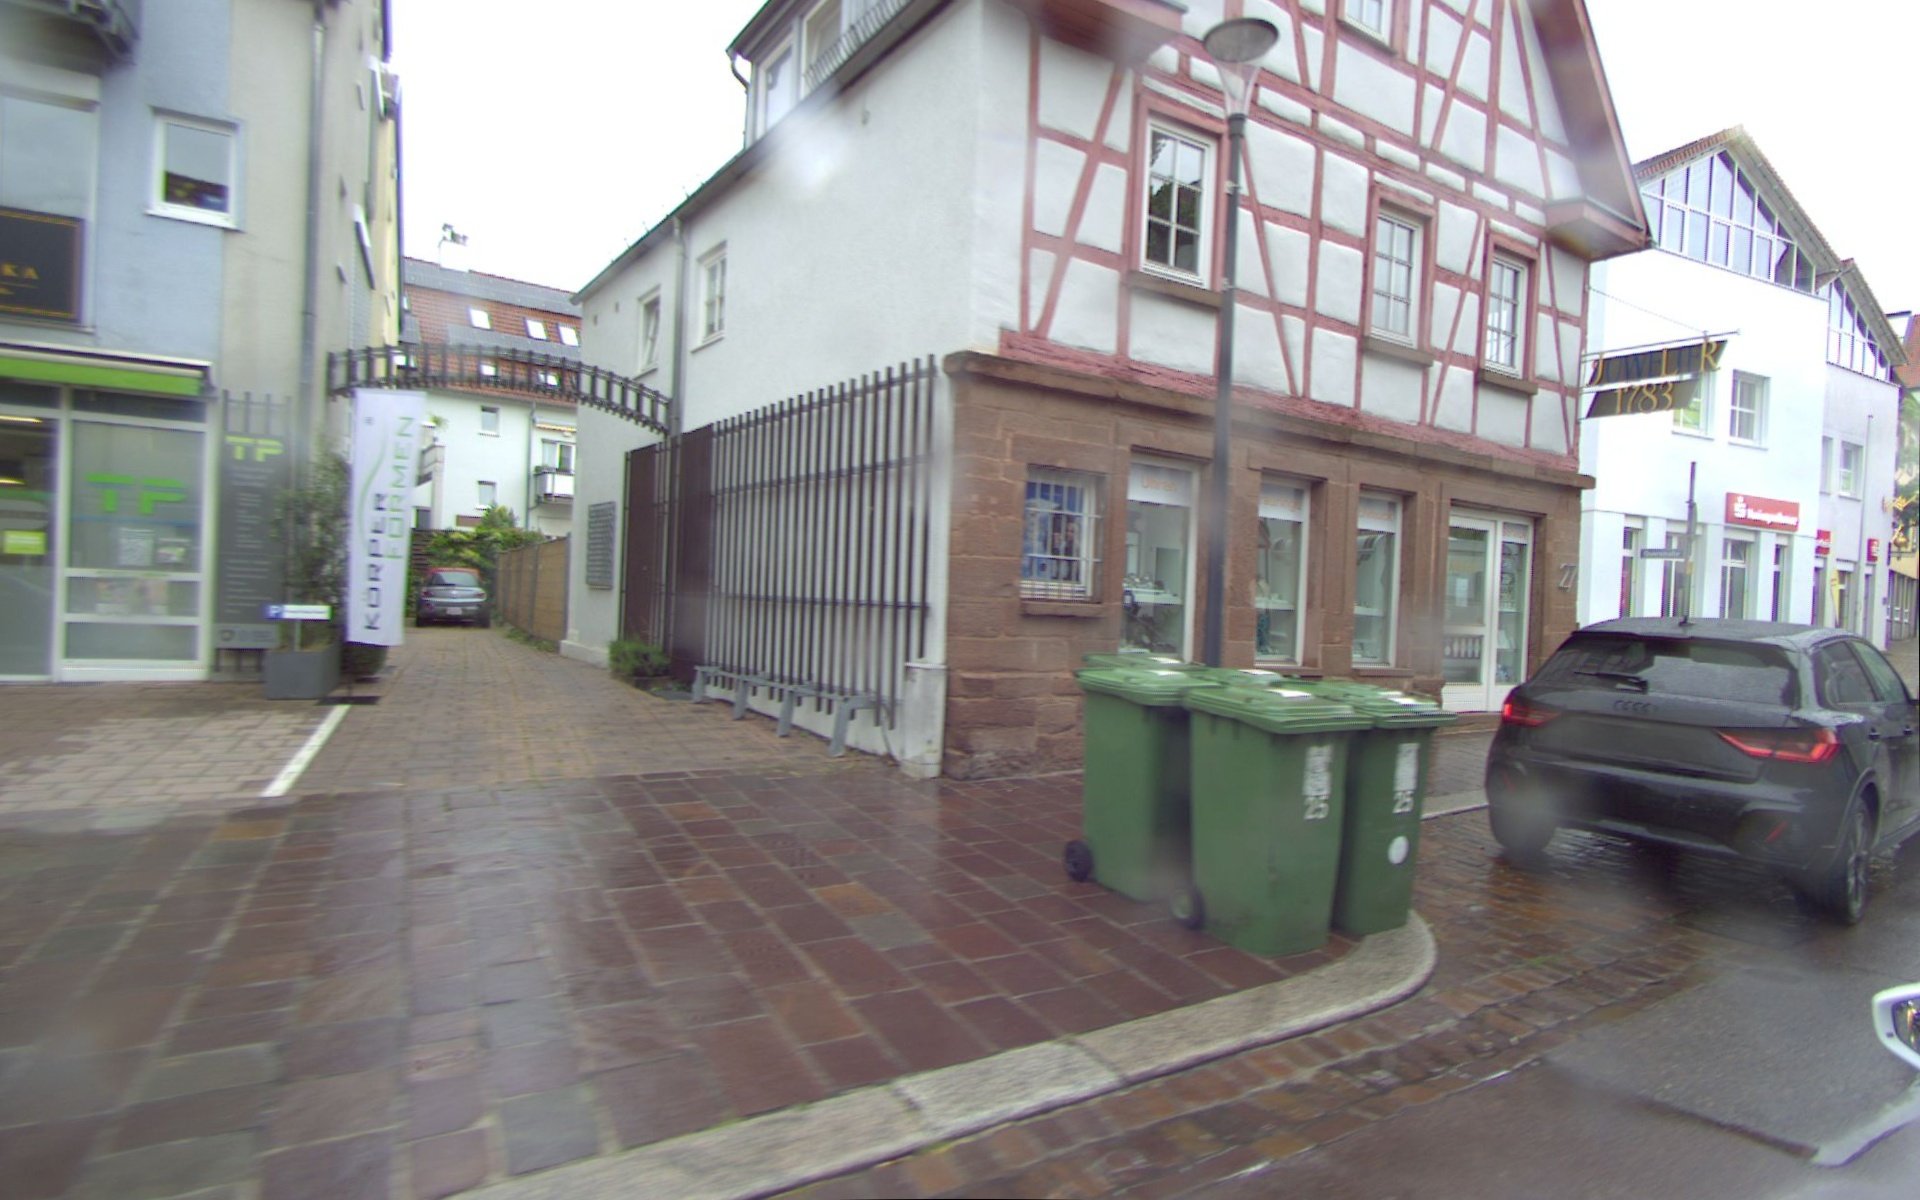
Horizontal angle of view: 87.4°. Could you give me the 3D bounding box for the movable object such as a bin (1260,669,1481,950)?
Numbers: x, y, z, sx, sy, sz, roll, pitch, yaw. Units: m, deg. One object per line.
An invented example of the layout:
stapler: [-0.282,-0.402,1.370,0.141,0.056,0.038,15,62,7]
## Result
movable object such as a bin: [1.914,0.919,4.703,0.726,1.137,0.626,3,-1,-33]

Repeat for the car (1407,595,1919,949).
car: [4.866,0.802,6.513,3.966,1.514,1.977,1,2,-39]

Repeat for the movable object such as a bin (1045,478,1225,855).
movable object such as a bin: [1.024,0.371,5.897,0.739,2.040,0.626,3,-1,-33]

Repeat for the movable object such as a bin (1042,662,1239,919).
movable object such as a bin: [0.881,0.880,4.933,0.726,1.066,0.626,-2,2,-33]

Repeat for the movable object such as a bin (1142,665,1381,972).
movable object such as a bin: [1.281,0.867,4.295,0.726,1.128,0.626,3,-1,-33]

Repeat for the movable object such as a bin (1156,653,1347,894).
movable object such as a bin: [1.551,0.878,5.368,0.726,1.137,0.626,3,-1,-33]

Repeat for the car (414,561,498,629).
car: [-13.122,-0.131,26.189,1.768,1.572,3.972,3,-1,-27]
